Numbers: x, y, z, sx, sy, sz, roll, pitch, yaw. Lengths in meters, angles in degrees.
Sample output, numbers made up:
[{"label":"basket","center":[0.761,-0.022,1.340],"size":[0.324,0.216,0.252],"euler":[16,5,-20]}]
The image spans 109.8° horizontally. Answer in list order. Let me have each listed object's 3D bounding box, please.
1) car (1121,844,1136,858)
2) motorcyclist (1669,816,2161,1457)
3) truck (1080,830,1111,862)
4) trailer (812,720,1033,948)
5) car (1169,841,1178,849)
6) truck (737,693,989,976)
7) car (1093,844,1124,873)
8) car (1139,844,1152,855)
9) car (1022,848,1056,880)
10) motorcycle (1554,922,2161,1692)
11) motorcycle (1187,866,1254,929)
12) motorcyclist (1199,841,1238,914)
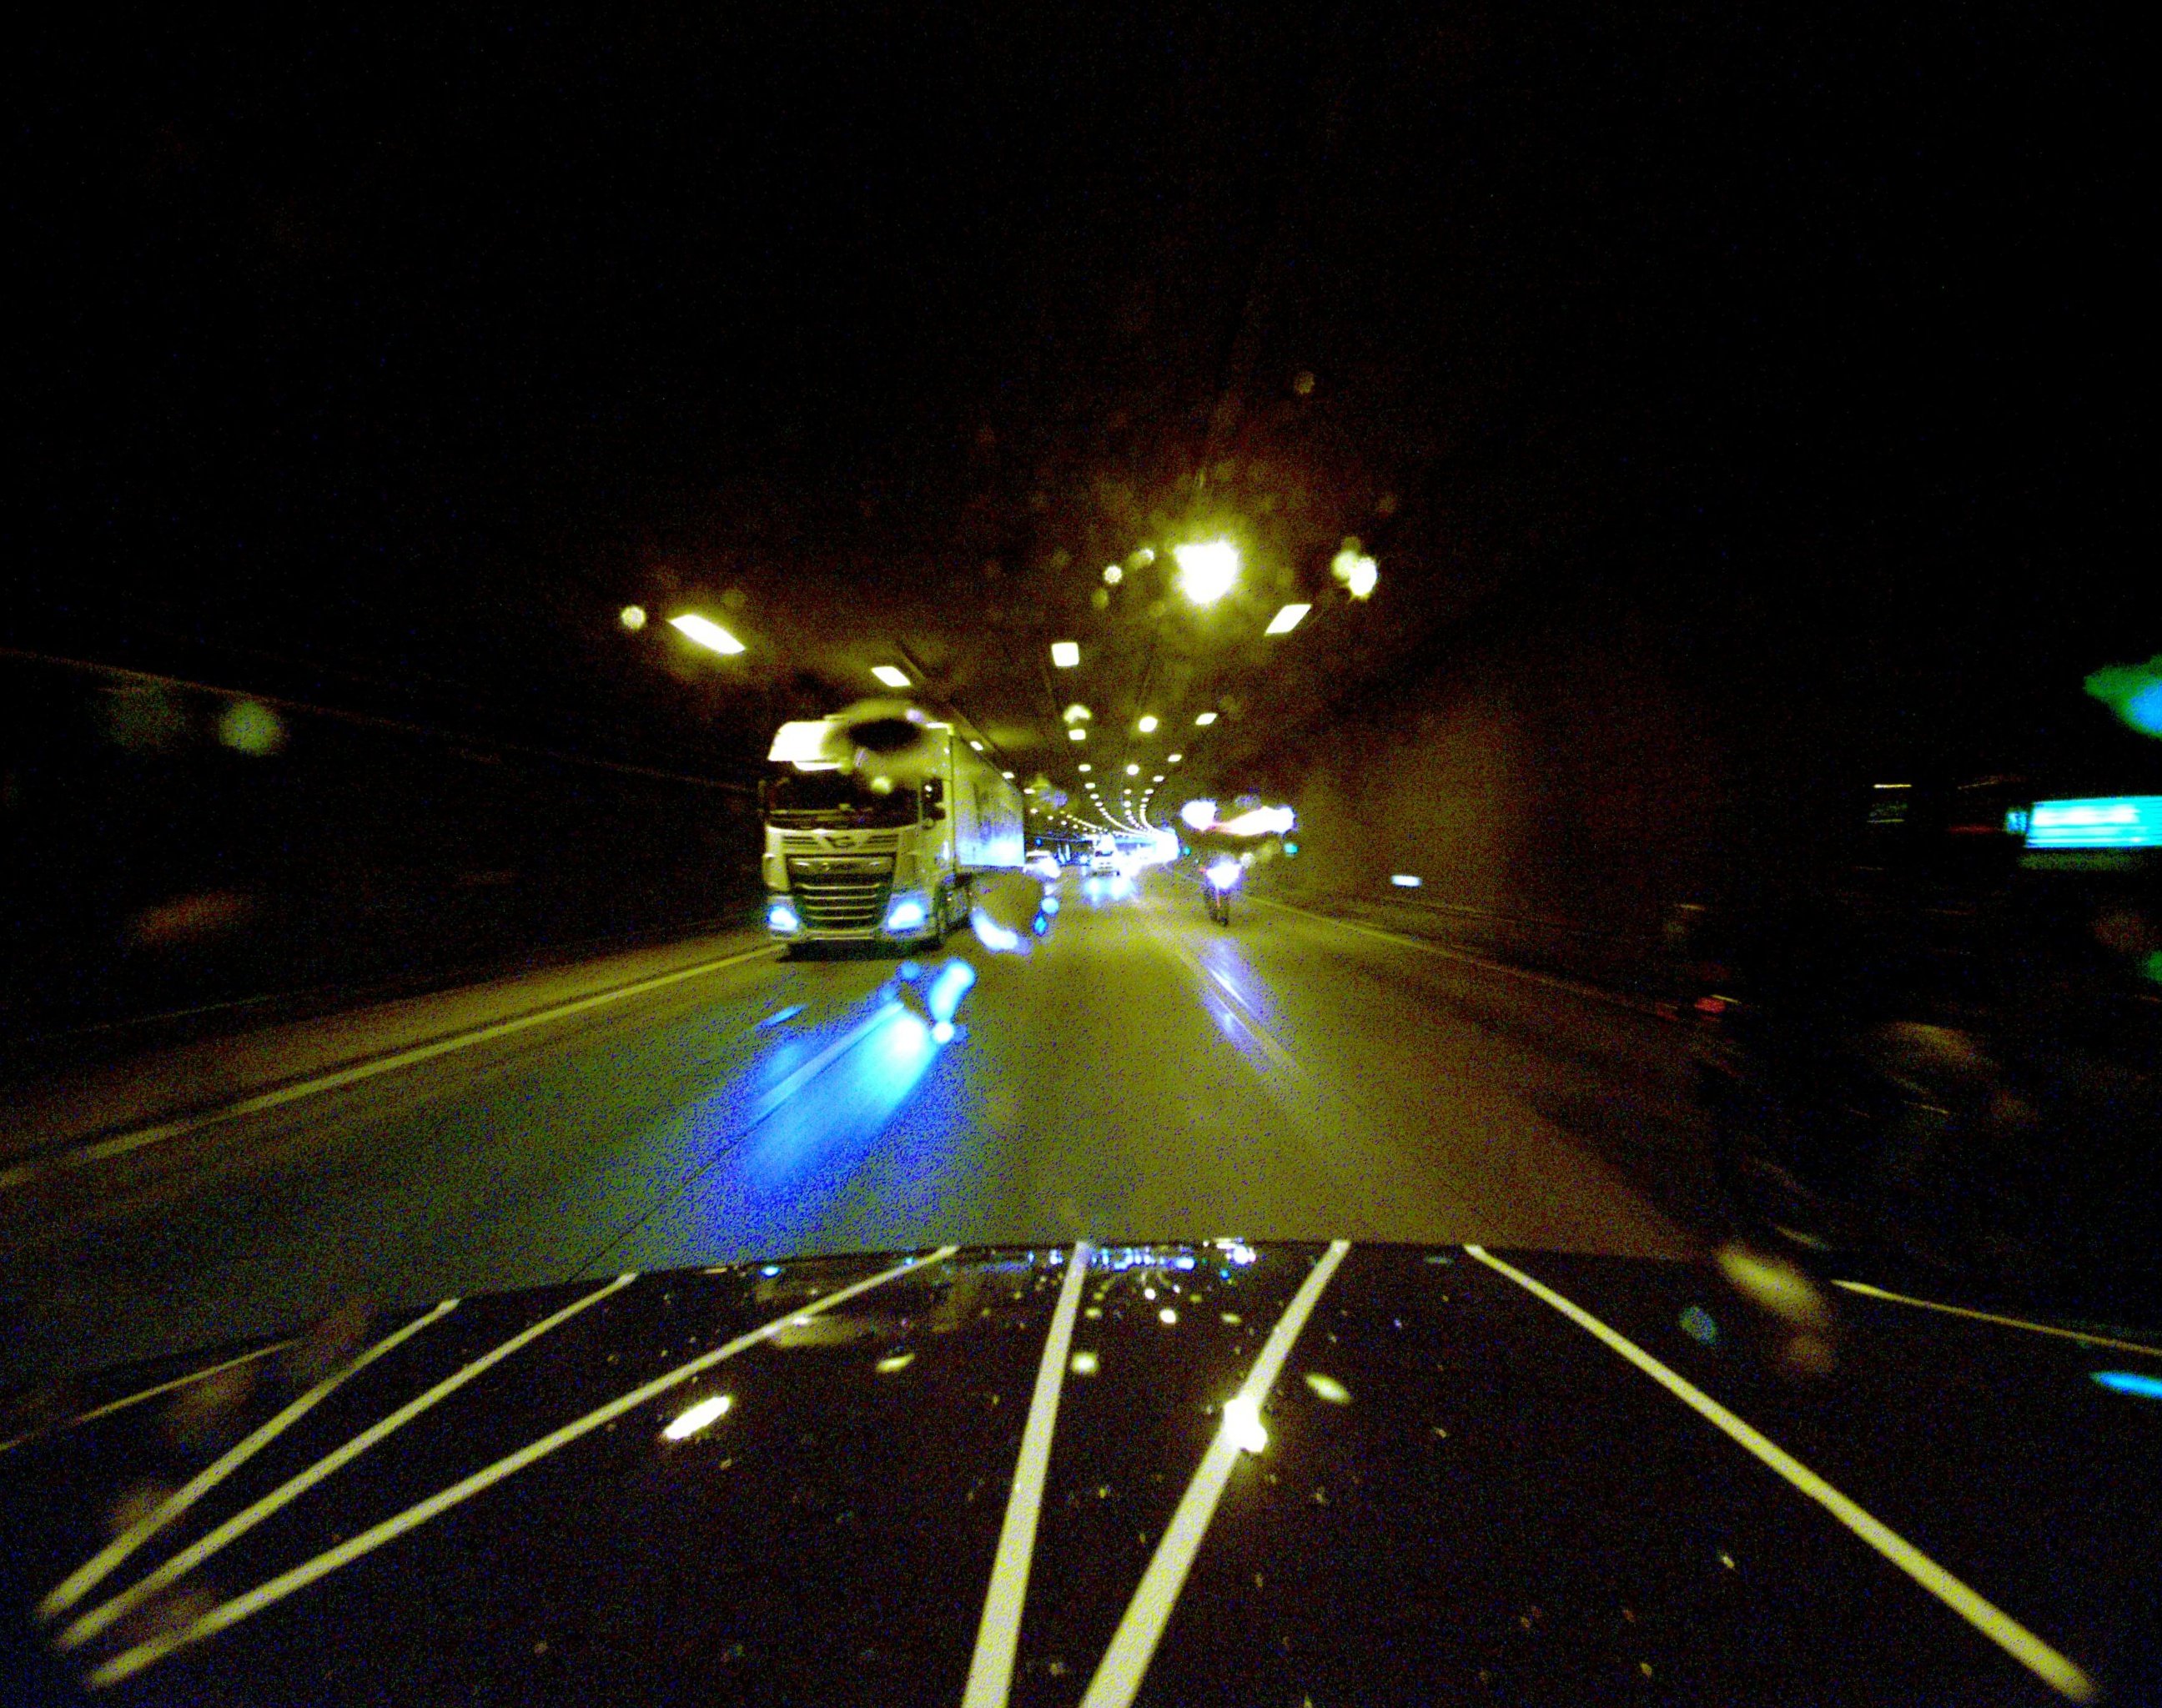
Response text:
[{"label":"car","center":[6.926,-0.443,110.166],"size":[1.998,1.788,4.001],"euler":[-3,1,6]},{"label":"motorcyclist","center":[2.420,0.648,2.154],"size":[0.841,1.469,0.821],"euler":[-2,1,1]},{"label":"truck","center":[1.892,-1.065,96.775],"size":[2.899,3.819,9.000],"euler":[-3,1,7]},{"label":"trailer","center":[-3.423,-0.422,21.302],"size":[2.627,4.139,14.001],"euler":[-3,0,2]},{"label":"car","center":[25.207,-2.466,207.572],"size":[1.997,1.788,4.002],"euler":[-3,1,11]},{"label":"truck","center":[-3.651,-0.304,14.449],"size":[2.652,4.139,6.005],"euler":[-3,1,2]},{"label":"car","center":[1.978,0.309,54.148],"size":[1.998,1.890,4.001],"euler":[-3,0,3]},{"label":"car","center":[11.771,-0.845,138.428],"size":[1.997,1.788,4.002],"euler":[-3,1,10]},{"label":"car","center":[-2.567,0.550,47.150],"size":[1.840,1.849,4.287],"euler":[-2,1,0]},{"label":"motorcycle","center":[2.454,0.937,1.992],"size":[0.847,1.238,2.604],"euler":[-2,1,2]},{"label":"motorcycle","center":[2.910,0.881,16.154],"size":[1.055,1.151,2.428],"euler":[-2,0,3]},{"label":"motorcyclist","center":[2.898,0.480,16.076],"size":[0.628,1.480,0.890],"euler":[-2,1,1]}]
